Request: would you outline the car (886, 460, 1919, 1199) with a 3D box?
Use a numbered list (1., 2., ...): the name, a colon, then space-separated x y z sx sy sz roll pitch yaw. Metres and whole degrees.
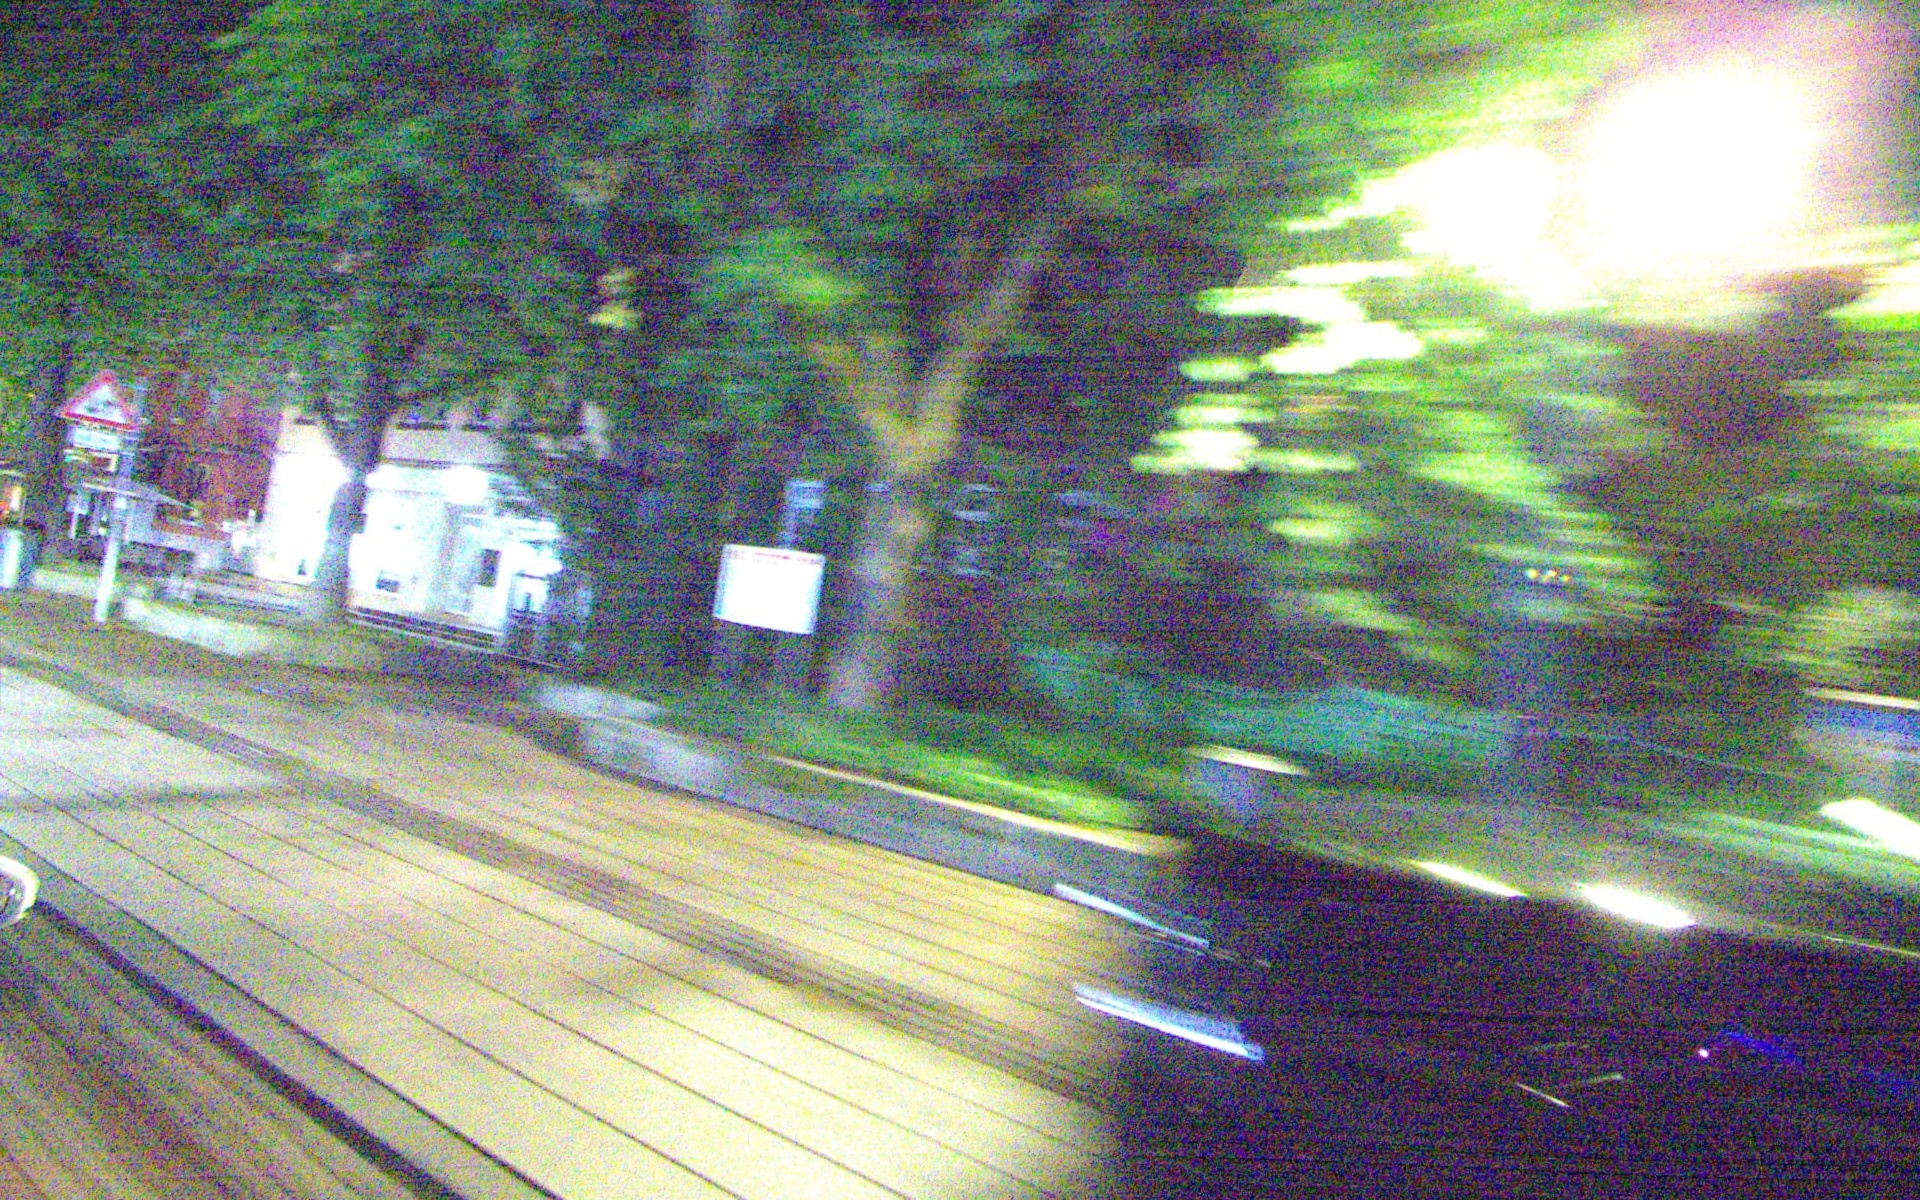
1. car: 2.475 0.965 1.729 4.853 1.823 1.912 7 -2 31
